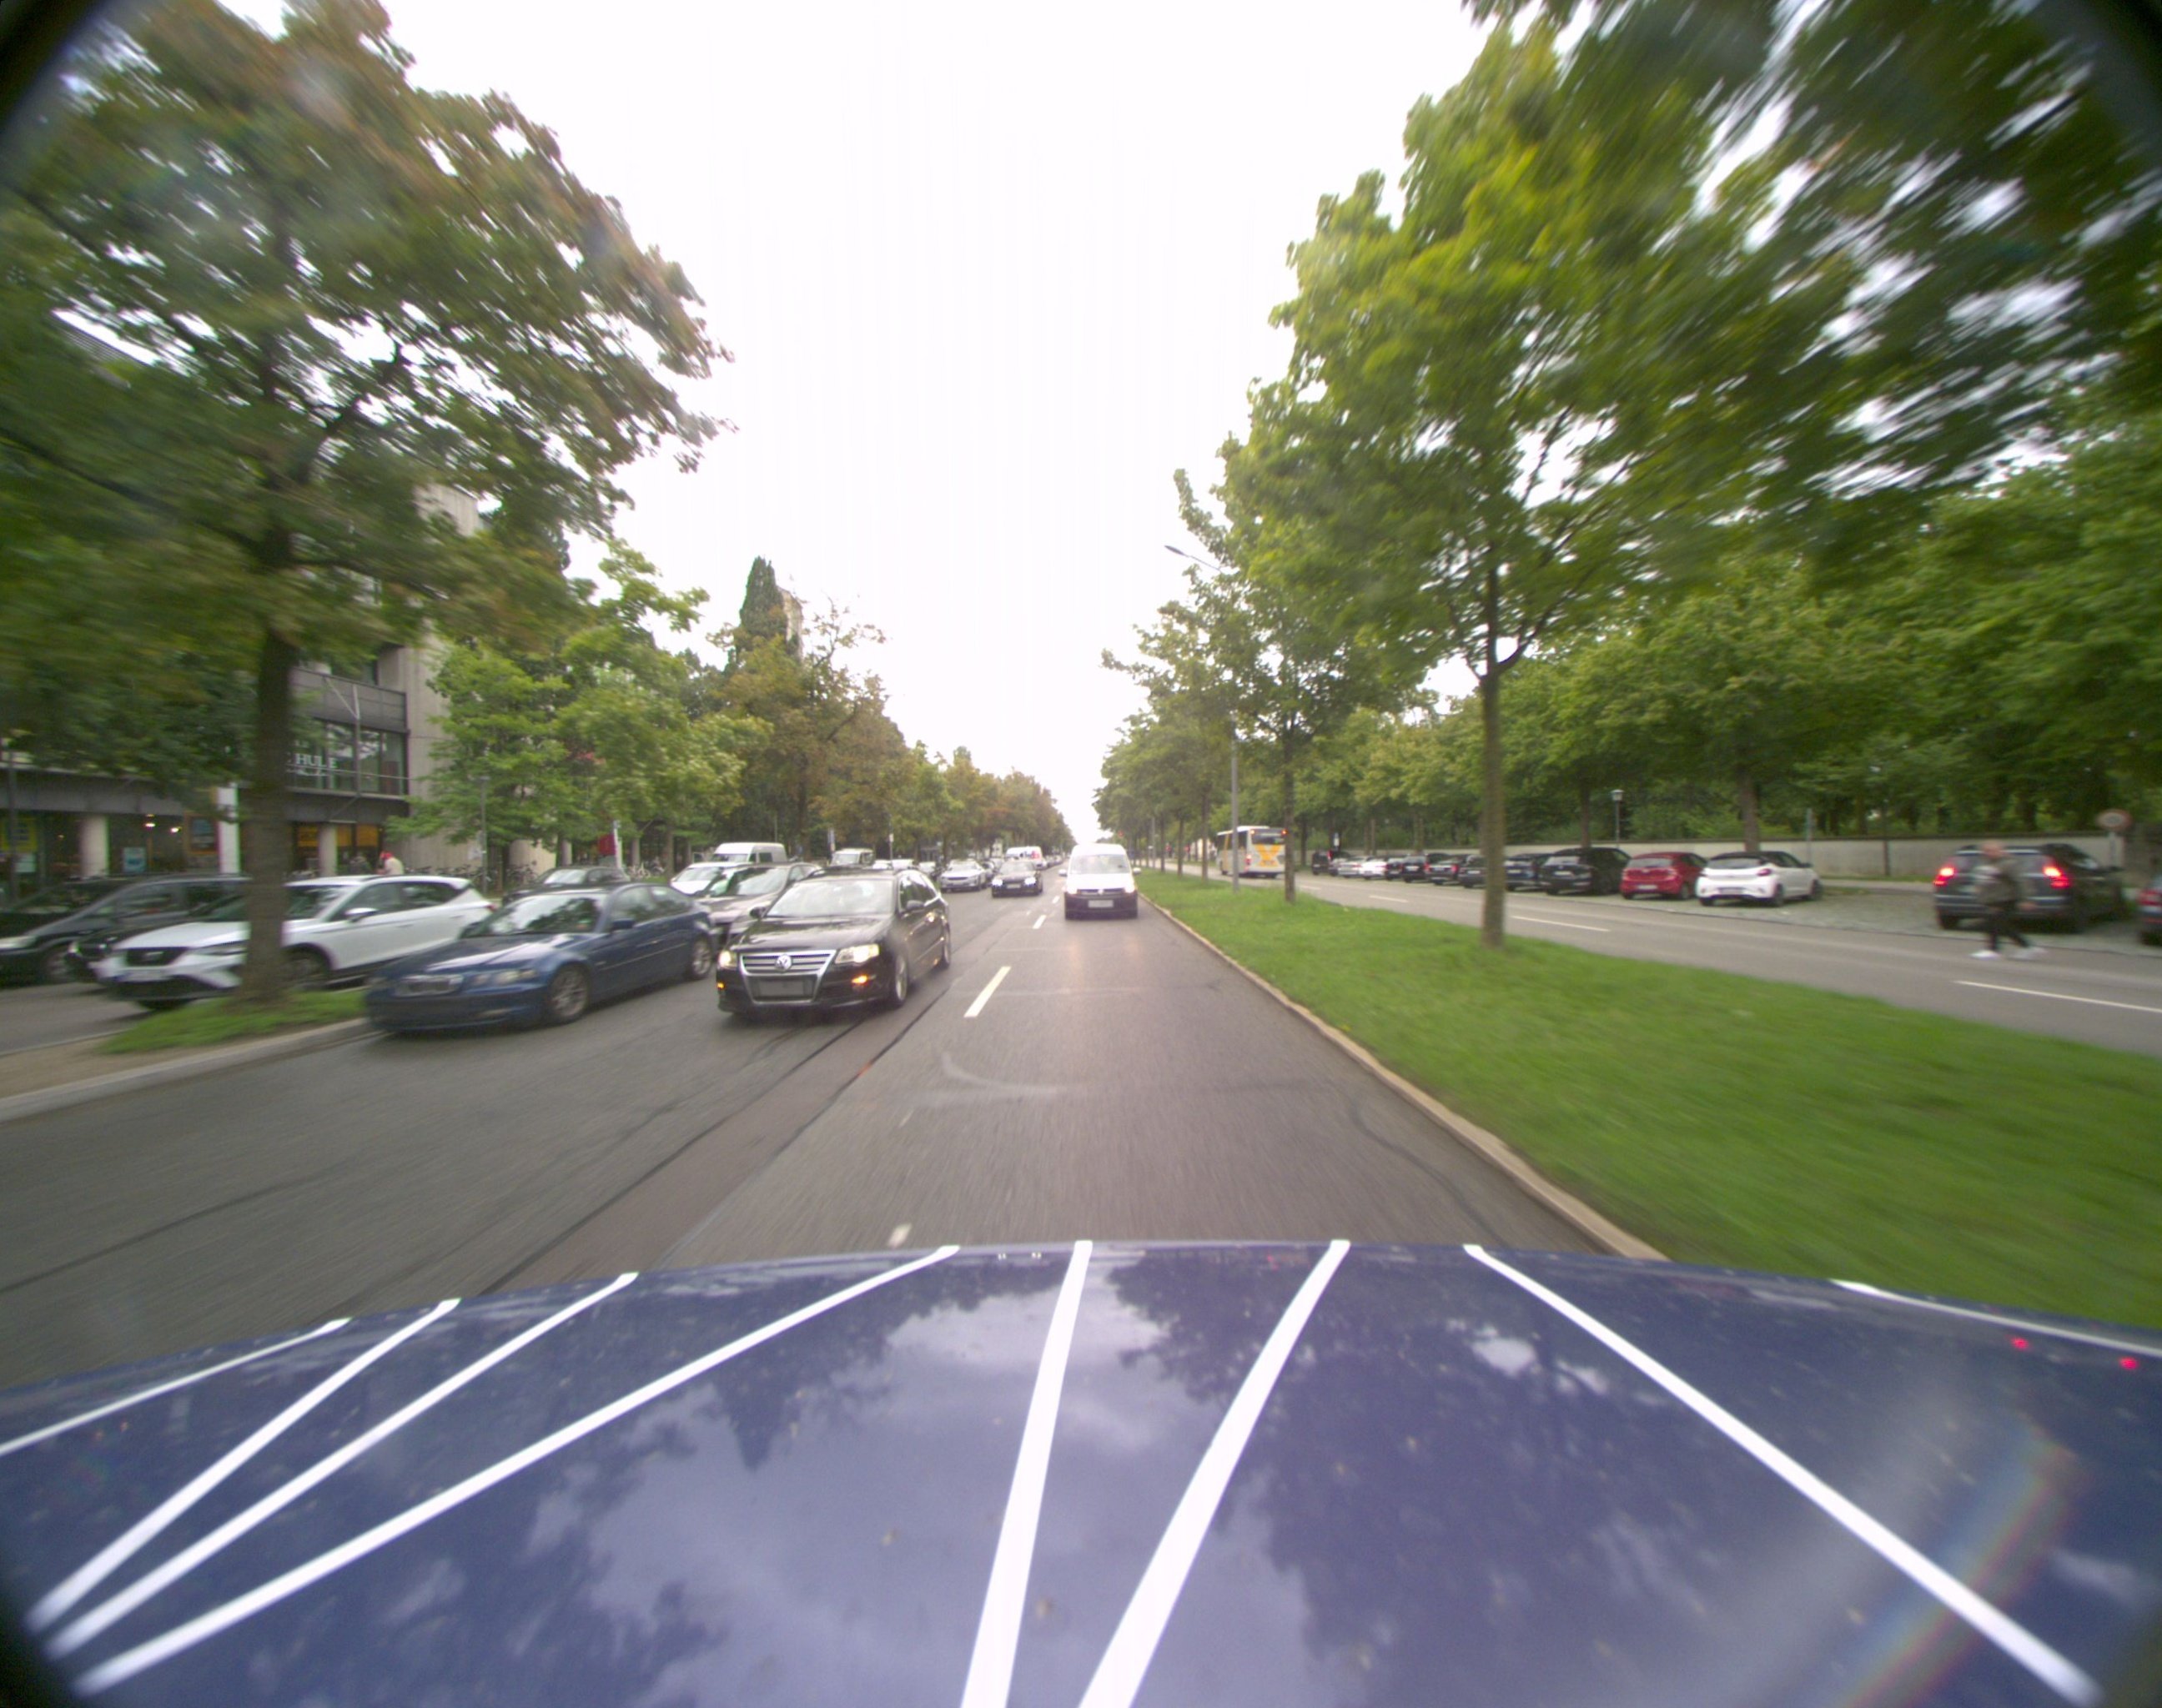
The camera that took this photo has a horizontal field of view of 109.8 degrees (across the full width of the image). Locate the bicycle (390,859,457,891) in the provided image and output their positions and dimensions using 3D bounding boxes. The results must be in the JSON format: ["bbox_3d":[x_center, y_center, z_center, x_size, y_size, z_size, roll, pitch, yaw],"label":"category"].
[{"bbox_3d":[-28.387,0.905,32.814,2.313,1.294,0.649,-1,1,2],"label":"bicycle"}]

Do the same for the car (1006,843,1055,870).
[{"bbox_3d":[-5.288,0.252,80.880,1.974,2.642,6.017,-2,1,31],"label":"car"}]

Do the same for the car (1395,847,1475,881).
[{"bbox_3d":[18.695,0.518,40.084,4.006,1.548,1.887,-3,0,-31],"label":"car"}]

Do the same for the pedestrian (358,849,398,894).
[{"bbox_3d":[-27.394,0.671,29.619,0.872,1.689,0.771,0,2,15],"label":"pedestrian"}]

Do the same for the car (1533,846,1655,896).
[{"bbox_3d":[18.531,0.598,27.460,4.005,1.548,1.888,-3,0,-27],"label":"car"}]

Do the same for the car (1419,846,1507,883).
[{"bbox_3d":[18.417,0.509,36.612,4.006,1.548,1.887,-3,0,-31],"label":"car"}]

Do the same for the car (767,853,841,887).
[{"bbox_3d":[-15.802,0.864,43.712,2.268,1.801,5.177,-1,0,1],"label":"car"}]

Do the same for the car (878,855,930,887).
[{"bbox_3d":[-9.686,0.899,41.884,1.826,1.534,4.054,-2,0,1],"label":"car"}]

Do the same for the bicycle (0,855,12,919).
[{"bbox_3d":[-28.565,0.861,19.138,2.313,1.613,0.649,-1,1,1],"label":"bicycle"}]

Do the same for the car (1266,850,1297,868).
[{"bbox_3d":[17.544,0.375,66.686,1.889,1.435,4.169,-2,1,5],"label":"car"}]

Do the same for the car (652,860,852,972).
[{"bbox_3d":[-5.914,1.004,14.335,1.686,1.632,4.464,-4,0,1],"label":"car"}]

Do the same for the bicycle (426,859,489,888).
[{"bbox_3d":[-28.369,0.884,34.577,2.313,1.294,0.649,-1,1,2],"label":"bicycle"}]

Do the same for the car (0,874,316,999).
[{"bbox_3d":[-16.235,1.225,12.938,1.826,1.624,4.500,0,0,0],"label":"car"}]

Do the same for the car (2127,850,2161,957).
[{"bbox_3d":[18.442,0.734,12.165,4.006,1.477,1.797,-3,0,-34],"label":"car"}]

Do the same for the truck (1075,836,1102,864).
[{"bbox_3d":[1.010,-0.521,95.142,3.046,3.170,9.133,-2,0,2],"label":"truck"}]

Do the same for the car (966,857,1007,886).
[{"bbox_3d":[-5.289,0.956,42.980,1.735,1.424,4.441,-2,0,0],"label":"car"}]

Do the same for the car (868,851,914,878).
[{"bbox_3d":[-15.750,0.798,63.357,2.268,2.091,5.858,-1,0,1],"label":"car"}]

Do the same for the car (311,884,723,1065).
[{"bbox_3d":[-5.968,1.151,8.790,1.686,1.367,4.080,-2,0,-1],"label":"car"}]

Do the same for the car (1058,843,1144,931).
[{"bbox_3d":[0.418,0.690,18.576,1.750,1.807,4.667,-2,0,0],"label":"car"}]

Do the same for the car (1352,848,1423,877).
[{"bbox_3d":[18.421,0.509,45.626,4.006,1.548,1.887,-3,0,-31],"label":"car"}]

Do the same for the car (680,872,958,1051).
[{"bbox_3d":[-2.723,1.024,9.080,1.735,1.424,4.441,-2,0,0],"label":"car"}]

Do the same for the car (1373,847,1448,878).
[{"bbox_3d":[18.735,0.471,43.155,4.006,1.548,1.887,-3,0,-31],"label":"car"}]

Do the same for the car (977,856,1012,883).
[{"bbox_3d":[-5.480,0.955,48.583,1.735,1.507,4.441,-2,0,0],"label":"car"}]

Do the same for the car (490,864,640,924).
[{"bbox_3d":[-15.996,1.174,23.867,1.865,1.624,4.340,0,0,-3],"label":"car"}]

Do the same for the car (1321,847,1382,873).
[{"bbox_3d":[18.700,0.403,52.427,4.006,1.632,1.887,-2,1,-33],"label":"car"}]

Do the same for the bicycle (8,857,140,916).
[{"bbox_3d":[-28.966,0.901,21.898,2.316,1.613,0.648,-1,1,-16],"label":"bicycle"}]

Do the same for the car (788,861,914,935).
[{"bbox_3d":[-5.793,1.036,19.744,1.686,1.513,4.465,-4,0,2],"label":"car"}]

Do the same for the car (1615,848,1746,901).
[{"bbox_3d":[19.304,0.630,24.462,4.005,1.446,1.736,-3,0,-27],"label":"car"}]

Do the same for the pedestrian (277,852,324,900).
[{"bbox_3d":[-27.983,0.774,27.257,0.769,1.689,0.875,0,2,15],"label":"pedestrian"}]

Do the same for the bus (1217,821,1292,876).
[{"bbox_3d":[11.541,-0.401,51.835,2.676,3.279,11.925,1,1,1],"label":"bus"}]

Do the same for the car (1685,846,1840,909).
[{"bbox_3d":[19.213,0.627,21.414,4.005,1.455,1.888,-3,0,-27],"label":"car"}]

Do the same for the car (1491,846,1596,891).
[{"bbox_3d":[18.517,0.555,30.398,4.006,1.548,1.887,-3,0,-31],"label":"car"}]

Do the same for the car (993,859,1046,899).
[{"bbox_3d":[-2.457,0.950,31.211,1.763,1.405,4.462,-2,0,0],"label":"car"}]

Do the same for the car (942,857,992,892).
[{"bbox_3d":[-5.482,0.964,37.097,1.735,1.498,4.441,-2,0,0],"label":"car"}]

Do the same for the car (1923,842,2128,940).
[{"bbox_3d":[18.818,0.655,15.119,4.005,1.577,1.798,-3,0,-28],"label":"car"}]

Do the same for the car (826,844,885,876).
[{"bbox_3d":[-15.715,0.398,53.431,2.268,2.091,5.858,-1,0,1],"label":"car"}]

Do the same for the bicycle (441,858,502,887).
[{"bbox_3d":[-28.347,0.871,35.350,2.313,1.294,0.649,-1,1,2],"label":"bicycle"}]

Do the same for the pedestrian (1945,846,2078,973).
[{"bbox_3d":[13.017,0.737,10.665,0.872,1.689,0.771,1,2,21],"label":"pedestrian"}]

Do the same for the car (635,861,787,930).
[{"bbox_3d":[-10.076,1.047,21.191,1.826,1.581,4.875,-2,0,0],"label":"car"}]

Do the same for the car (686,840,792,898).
[{"bbox_3d":[-15.997,0.634,36.005,2.268,2.514,5.858,-1,0,1],"label":"car"}]

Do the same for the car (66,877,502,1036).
[{"bbox_3d":[-10.073,1.171,10.135,1.654,1.510,3.877,-2,0,0],"label":"car"}]

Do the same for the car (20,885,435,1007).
[{"bbox_3d":[-13.364,1.333,12.418,1.726,1.371,4.352,-2,1,2],"label":"car"}]

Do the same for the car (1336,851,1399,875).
[{"bbox_3d":[18.436,0.561,48.887,4.006,1.358,1.588,-2,1,-30],"label":"car"}]

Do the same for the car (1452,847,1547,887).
[{"bbox_3d":[18.555,0.569,33.683,4.006,1.548,1.887,-3,0,-31],"label":"car"}]

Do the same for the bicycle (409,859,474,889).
[{"bbox_3d":[-28.370,0.894,33.728,2.313,1.294,0.676,-1,1,2],"label":"bicycle"}]

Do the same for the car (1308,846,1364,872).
[{"bbox_3d":[18.653,0.322,55.502,4.006,1.718,1.777,-2,1,-33],"label":"car"}]
